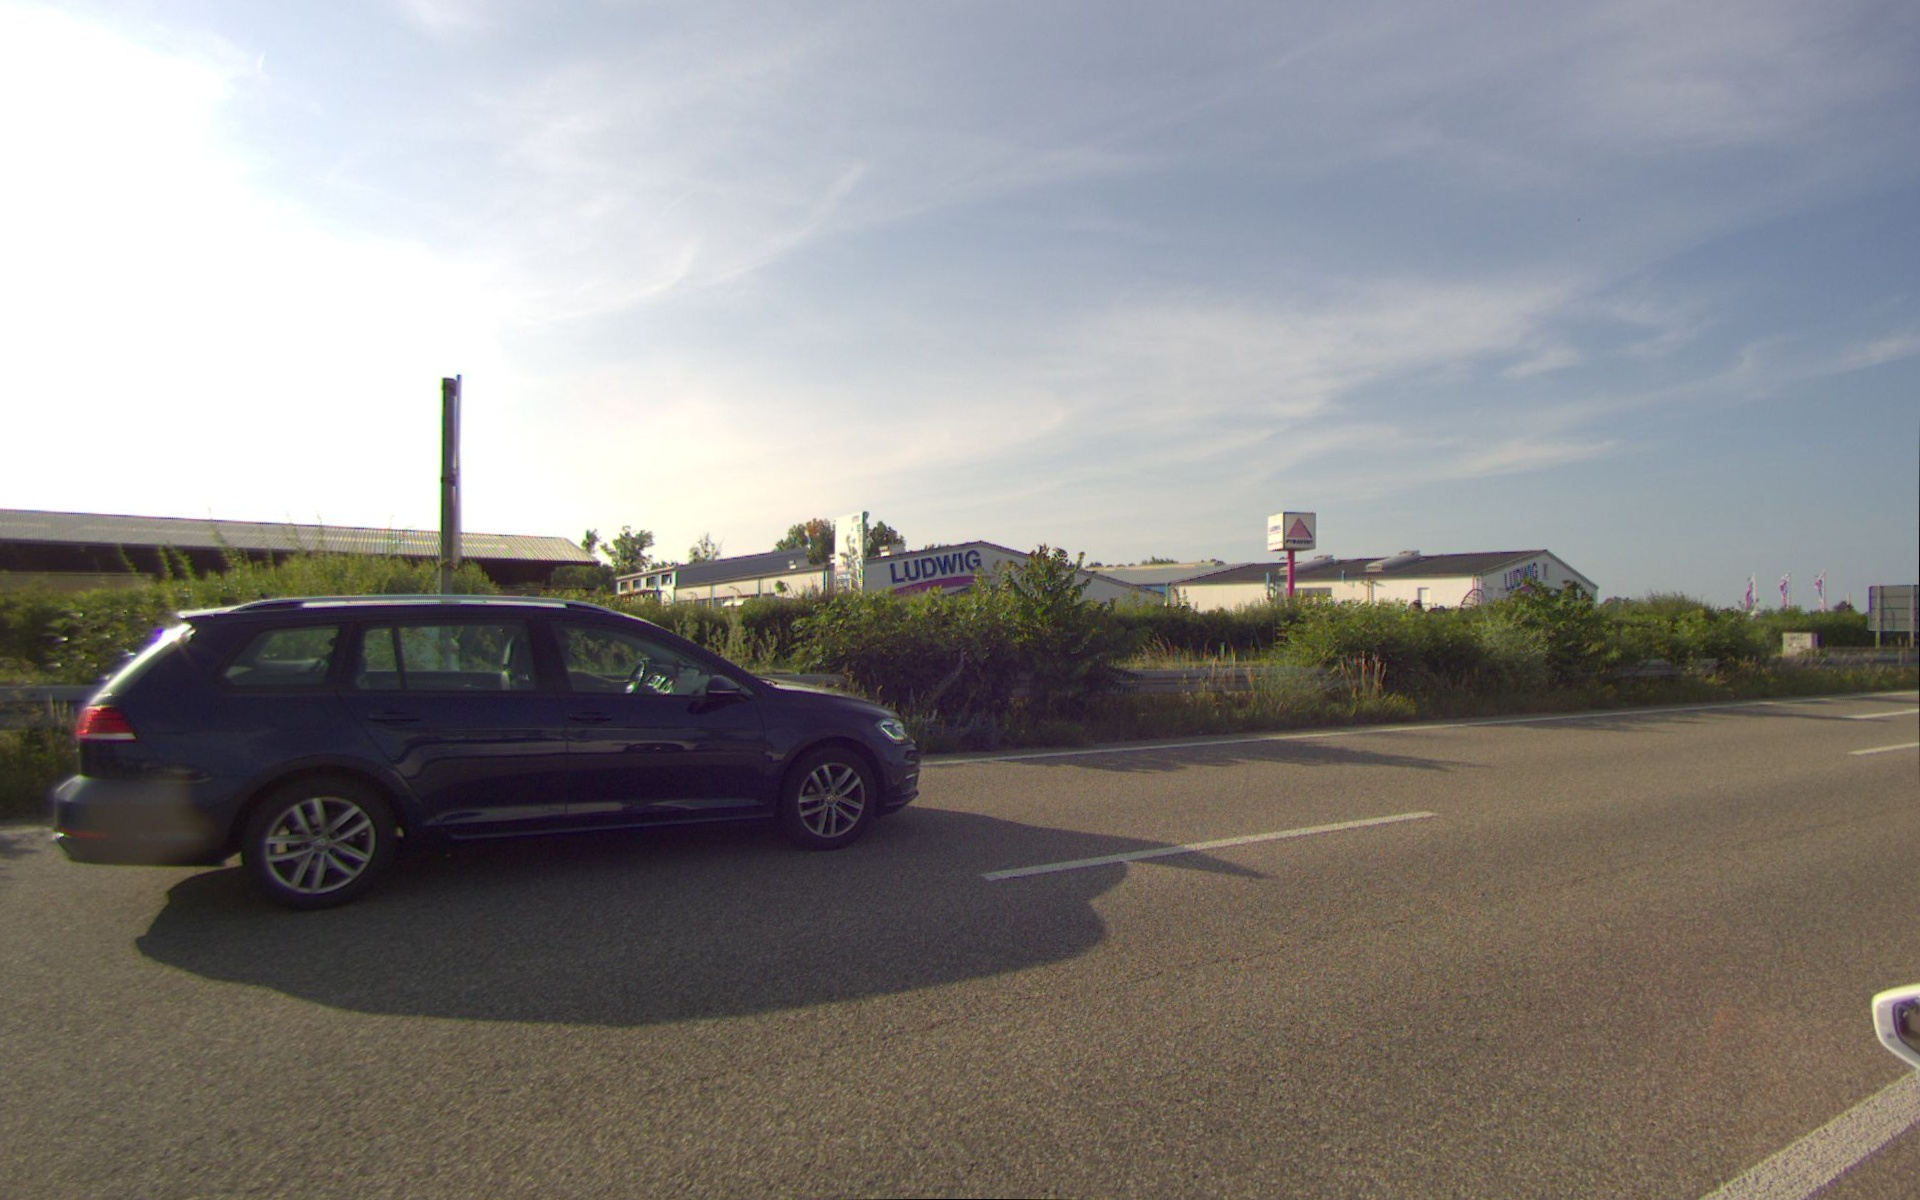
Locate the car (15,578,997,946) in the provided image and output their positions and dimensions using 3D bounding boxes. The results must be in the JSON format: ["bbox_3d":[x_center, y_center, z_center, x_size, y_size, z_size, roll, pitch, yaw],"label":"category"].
[{"bbox_3d":[-2.199,0.711,5.999,4.721,1.490,1.638,1,-1,-31],"label":"car"}]

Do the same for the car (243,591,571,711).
[{"bbox_3d":[-7.897,0.702,14.636,3.953,1.547,1.694,1,-1,-30],"label":"car"}]
